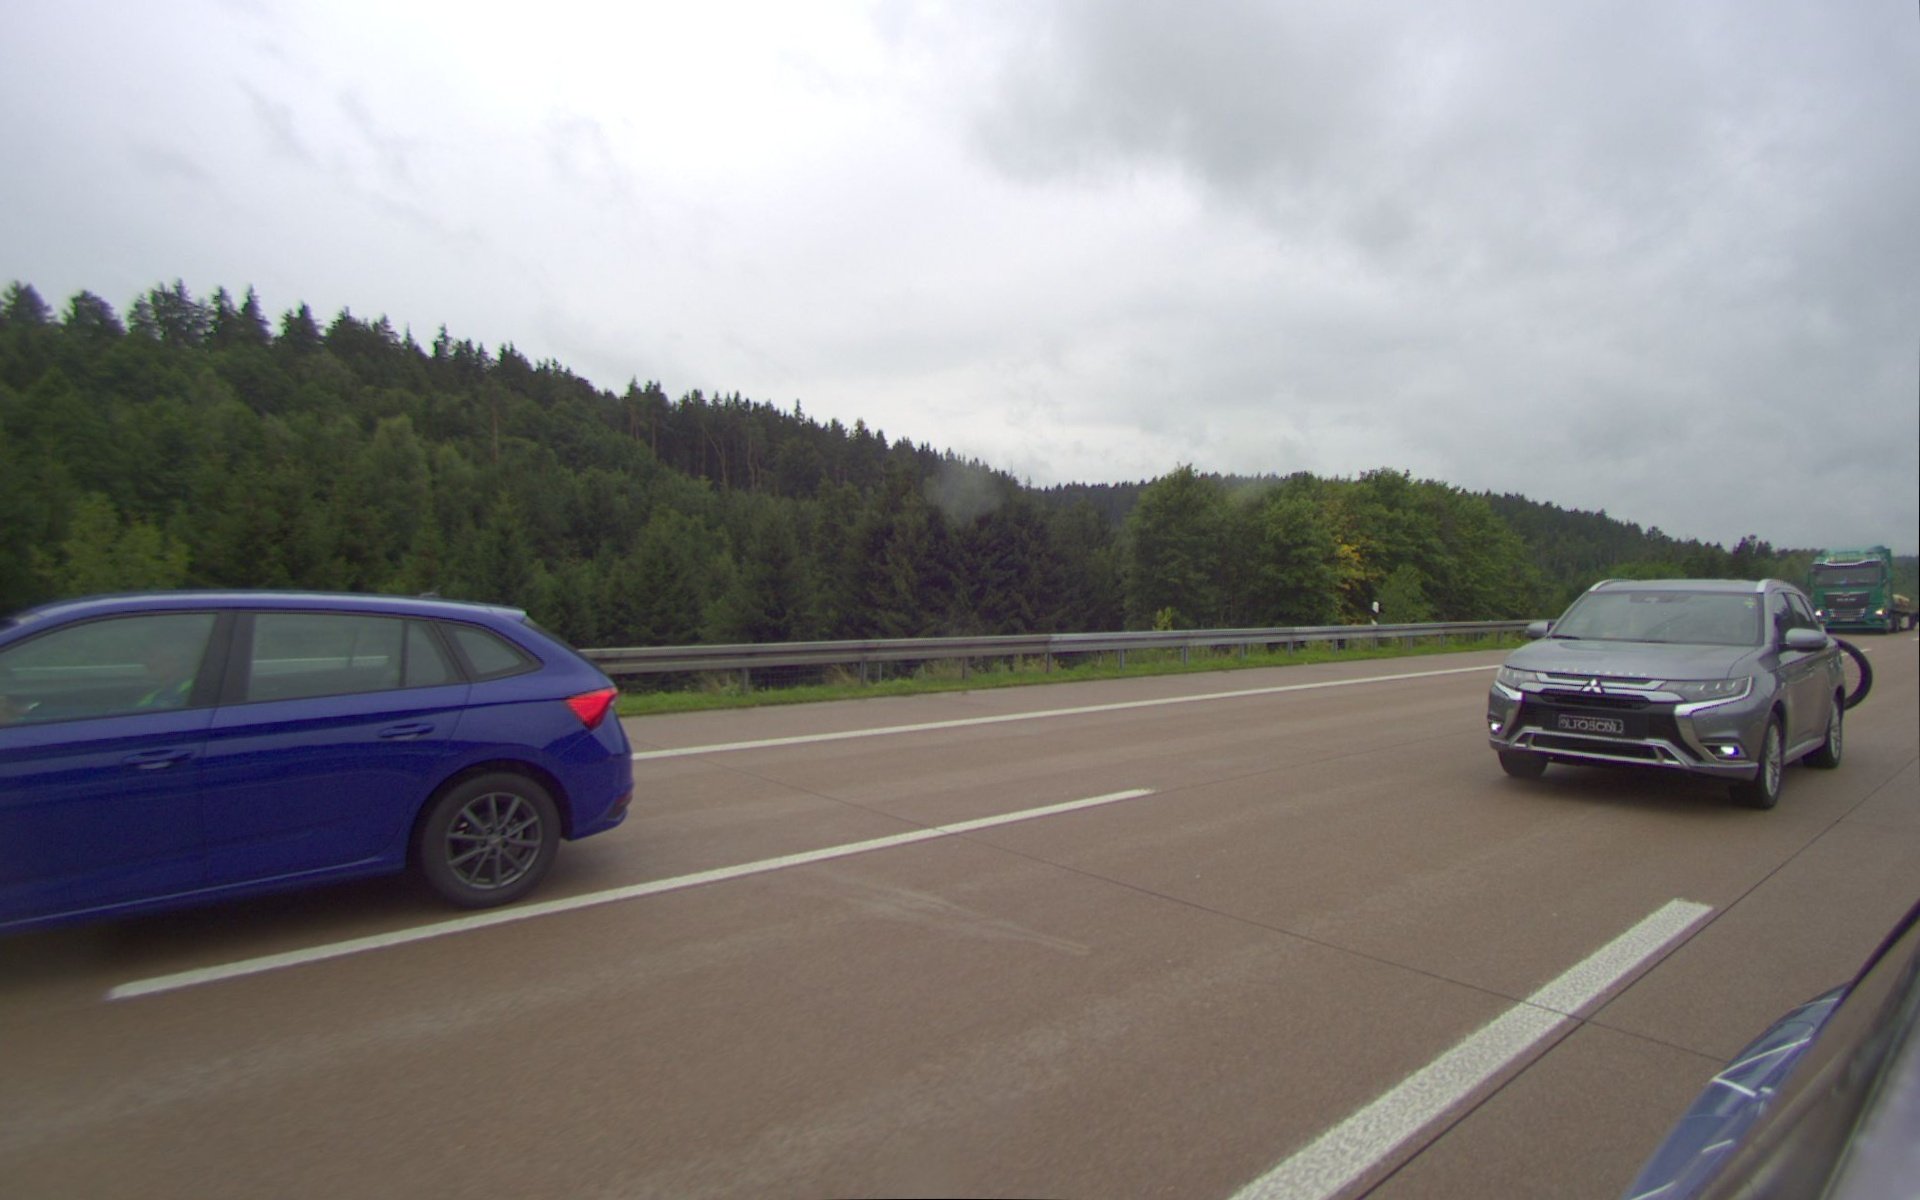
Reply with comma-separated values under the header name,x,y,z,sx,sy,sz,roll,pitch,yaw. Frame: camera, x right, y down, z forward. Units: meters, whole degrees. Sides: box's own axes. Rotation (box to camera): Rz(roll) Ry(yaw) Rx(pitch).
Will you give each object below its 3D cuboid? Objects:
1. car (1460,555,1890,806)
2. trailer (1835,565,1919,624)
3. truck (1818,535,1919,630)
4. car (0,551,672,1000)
name,x,y,z,sx,sy,sz,roll,pitch,yaw
car,6.742,0.452,9.194,5.721,1.612,1.996,-2,1,-42
trailer,46.987,-0.281,51.276,11.207,2.709,2.884,-1,0,-43
truck,41.326,-0.817,45.902,6.873,4.014,2.900,-2,1,-43
car,-3.607,0.608,4.557,4.075,1.583,1.774,-2,1,-41
